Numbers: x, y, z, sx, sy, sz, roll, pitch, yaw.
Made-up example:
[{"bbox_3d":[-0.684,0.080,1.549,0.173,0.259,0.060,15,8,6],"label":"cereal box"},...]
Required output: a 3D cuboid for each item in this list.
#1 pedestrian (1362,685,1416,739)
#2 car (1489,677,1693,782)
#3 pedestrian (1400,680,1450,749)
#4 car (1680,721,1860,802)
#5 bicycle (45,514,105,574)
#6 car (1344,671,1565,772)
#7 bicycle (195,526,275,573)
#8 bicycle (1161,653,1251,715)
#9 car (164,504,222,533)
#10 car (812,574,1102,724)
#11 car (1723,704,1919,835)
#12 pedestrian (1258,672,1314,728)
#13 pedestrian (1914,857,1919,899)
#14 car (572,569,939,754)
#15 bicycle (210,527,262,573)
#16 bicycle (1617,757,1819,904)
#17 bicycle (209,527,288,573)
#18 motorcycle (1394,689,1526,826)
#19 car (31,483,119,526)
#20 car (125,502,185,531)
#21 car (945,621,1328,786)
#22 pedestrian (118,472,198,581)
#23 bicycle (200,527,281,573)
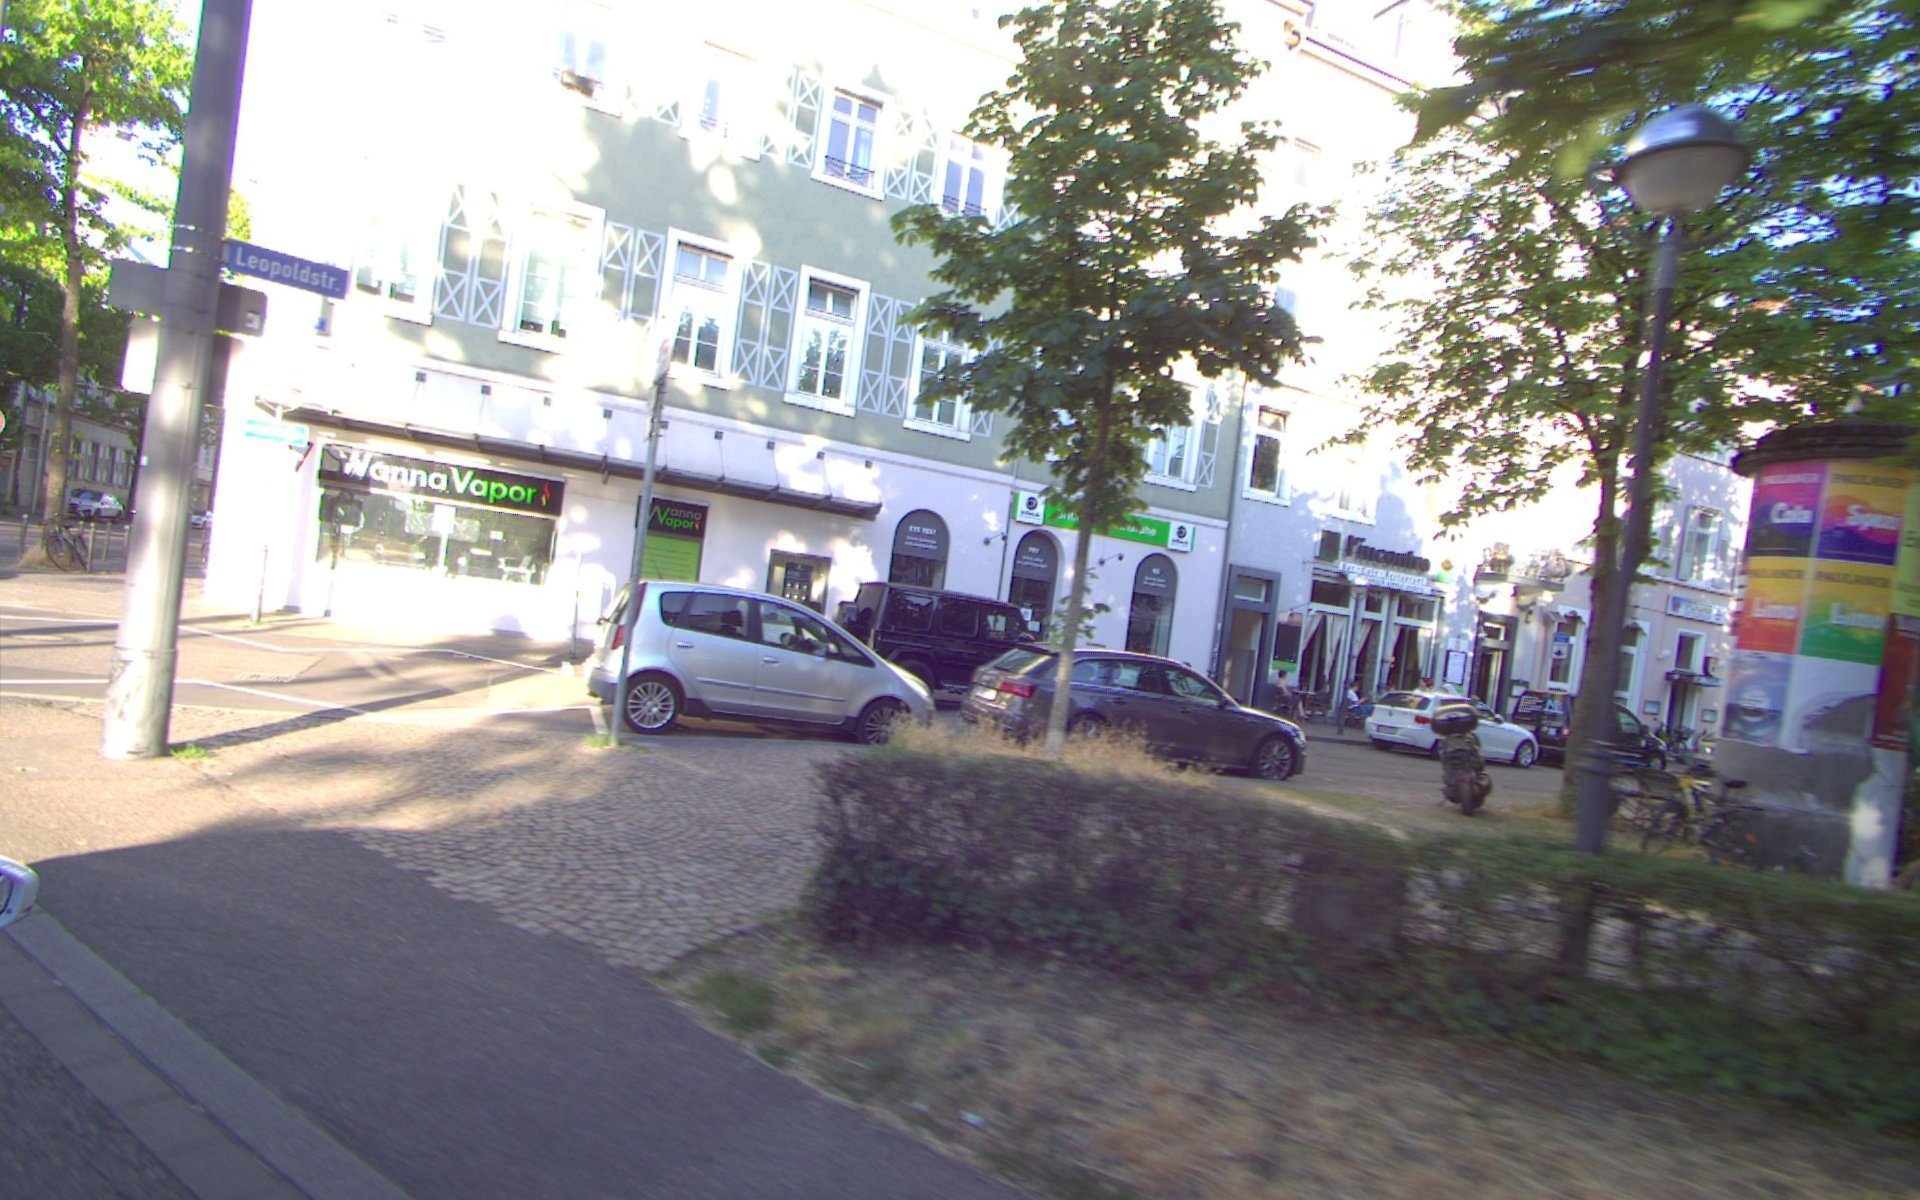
[{"bbox_3d":[11.251,2.943,26.403,1.014,1.260,0.683,7,0,-24],"label":"pedestrian"},{"bbox_3d":[15.652,3.213,24.953,4.456,1.986,2.012,8,-1,-25],"label":"car"},{"bbox_3d":[11.687,2.872,25.300,0.726,1.588,0.683,7,0,-24],"label":"pedestrian"},{"bbox_3d":[22.399,4.464,27.819,4.456,1.589,2.012,8,-1,-25],"label":"car"},{"bbox_3d":[-17.445,-1.096,19.855,0.351,1.089,1.688,7,-1,-26],"label":"bicycle"},{"bbox_3d":[11.154,2.741,22.689,4.456,1.636,2.012,8,-1,-25],"label":"car"},{"bbox_3d":[-22.181,-1.538,30.818,1.847,1.168,0.346,8,0,-22],"label":"bicycle"},{"bbox_3d":[5.929,2.028,24.234,1.962,1.260,0.683,8,0,-24],"label":"bicycle"},{"bbox_3d":[-56.556,-5.974,74.268,1.927,1.659,4.884,8,-1,-22],"label":"car"},{"bbox_3d":[-0.053,0.855,17.512,4.455,1.987,2.012,8,-1,-25],"label":"car"},{"bbox_3d":[17.793,3.423,20.121,4.379,2.037,1.989,8,-1,-23],"label":"car"},{"bbox_3d":[8.182,2.511,25.284,1.014,1.260,0.683,7,0,-24],"label":"pedestrian"},{"bbox_3d":[9.400,2.214,9.191,0.944,1.256,0.657,12,-3,-32],"label":"pedestrian"},{"bbox_3d":[-2.262,0.673,11.052,3.532,1.532,1.729,8,-1,-25],"label":"car"},{"bbox_3d":[-21.598,-1.490,30.010,1.652,1.168,0.461,7,0,27],"label":"bicycle"},{"bbox_3d":[6.720,2.011,9.020,0.545,0.940,1.530,7,-1,0],"label":"bicycle"},{"bbox_3d":[-22.599,-1.587,31.978,1.847,1.168,0.559,8,0,-22],"label":"bicycle"},{"bbox_3d":[6.019,1.839,12.273,0.934,1.383,2.246,7,-2,17],"label":"motorcycle"},{"bbox_3d":[-48.070,-5.153,54.781,1.944,1.658,4.787,11,-2,-22],"label":"car"},{"bbox_3d":[-53.363,-5.490,66.785,1.945,1.429,4.816,8,-1,-26],"label":"car"},{"bbox_3d":[2.324,1.359,13.043,4.615,1.532,1.729,8,-1,-25],"label":"car"},{"bbox_3d":[-16.150,-1.448,20.289,0.832,2.038,0.842,7,0,-20],"label":"pedestrian"},{"bbox_3d":[-22.382,-1.547,31.325,1.847,1.168,0.559,8,0,-22],"label":"bicycle"}]
